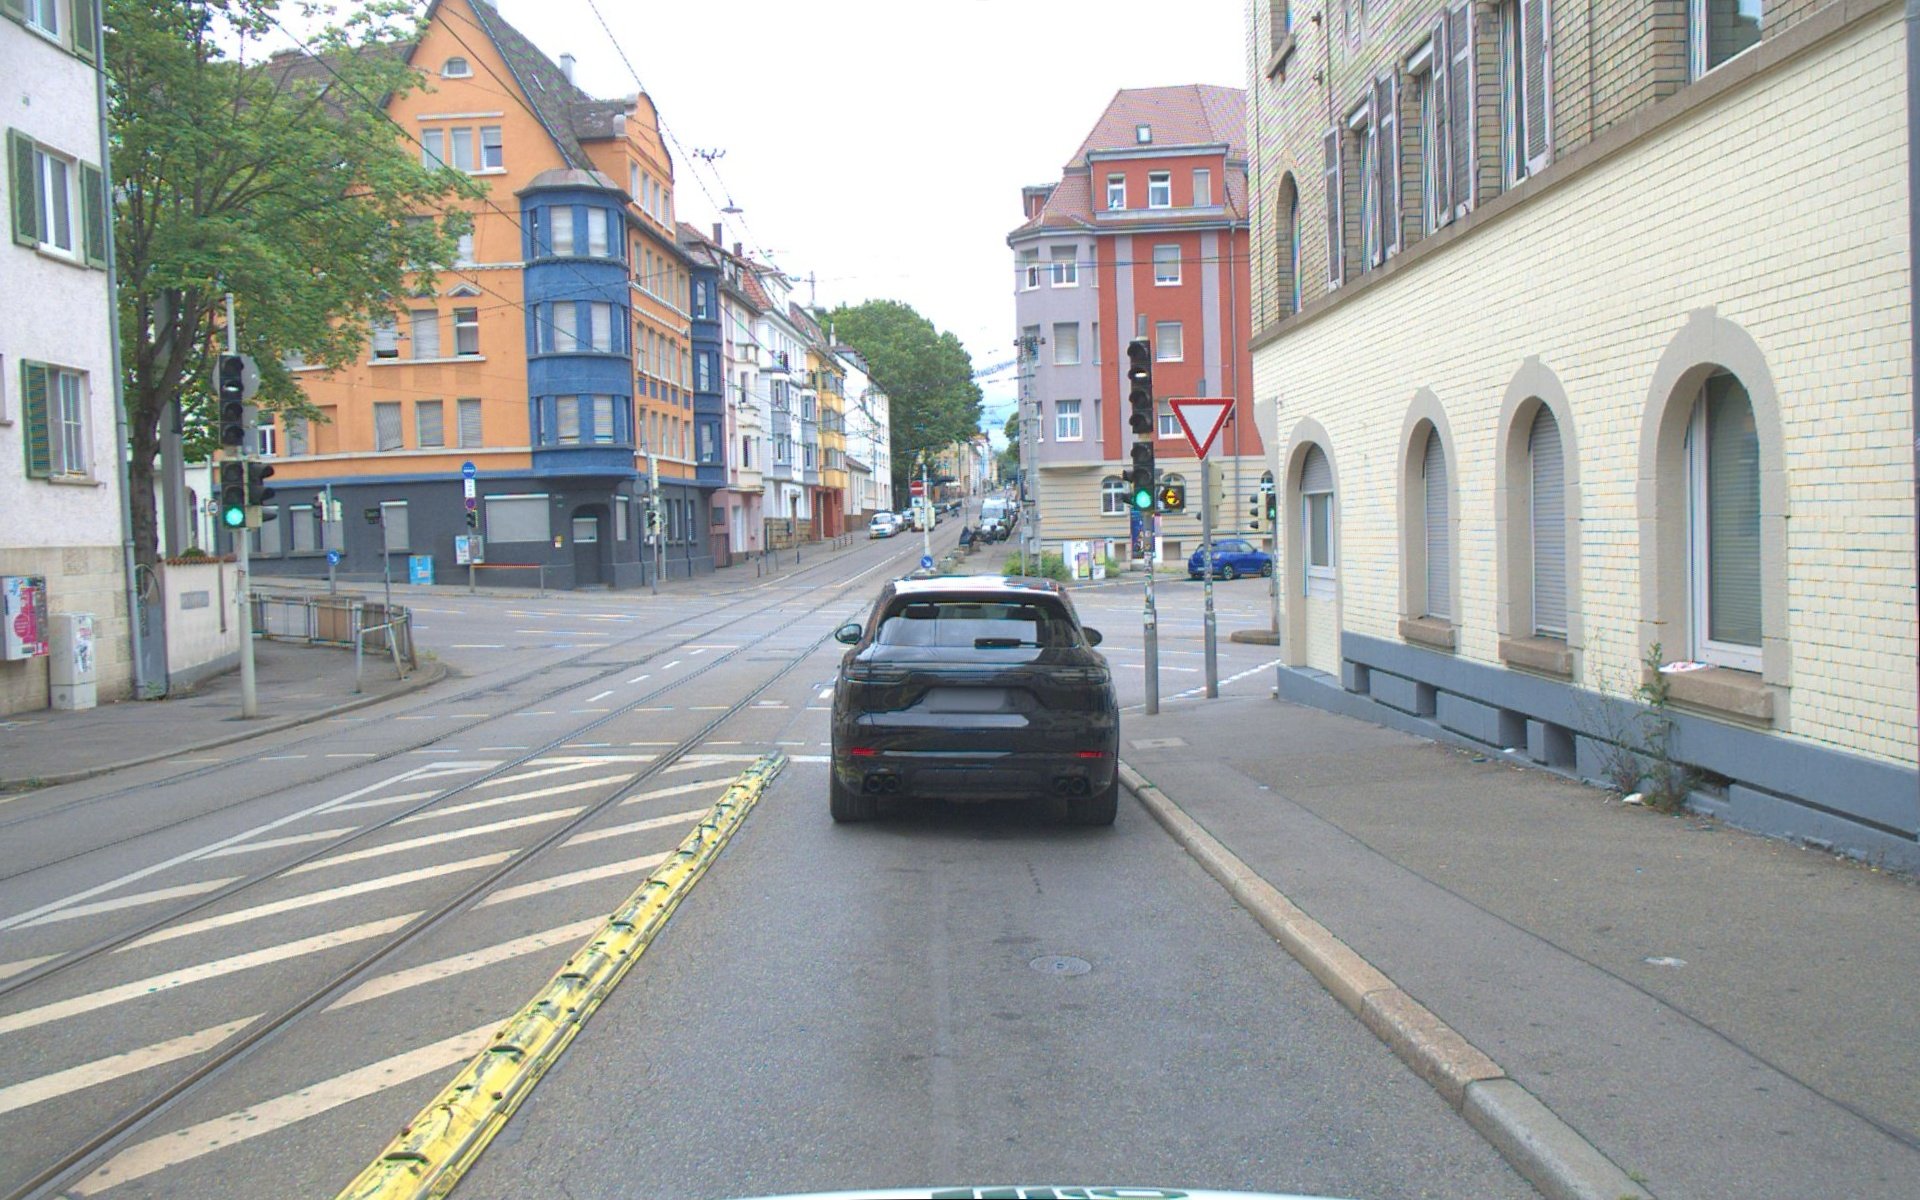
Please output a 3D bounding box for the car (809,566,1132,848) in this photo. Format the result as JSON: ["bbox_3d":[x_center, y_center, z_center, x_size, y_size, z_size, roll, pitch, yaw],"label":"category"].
[{"bbox_3d":[0.213,0.617,12.461,1.981,1.670,4.359,1,2,4],"label":"car"}]

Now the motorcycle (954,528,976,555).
[{"bbox_3d":[0.277,-3.207,90.721,0.843,1.348,2.182,-7,4,-5],"label":"motorcycle"}]

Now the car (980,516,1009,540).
[{"bbox_3d":[2.383,-5.016,114.497,1.801,1.595,3.822,1,3,4],"label":"car"}]

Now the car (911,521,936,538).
[{"bbox_3d":[-2.981,-5.777,135.710,1.650,1.349,3.665,1,3,4],"label":"car"}]

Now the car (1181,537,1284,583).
[{"bbox_3d":[10.725,-1.595,64.898,4.108,1.561,1.889,-5,6,-42],"label":"car"}]

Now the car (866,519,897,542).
[{"bbox_3d":[-5.960,-5.297,126.295,1.952,1.721,4.003,1,3,4],"label":"car"}]

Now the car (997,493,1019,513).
[{"bbox_3d":[5.258,-10.587,180.845,2.220,2.221,4.773,1,3,4],"label":"car"}]

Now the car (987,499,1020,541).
[{"bbox_3d":[3.191,-5.834,120.553,2.220,2.940,4.773,1,3,4],"label":"car"}]

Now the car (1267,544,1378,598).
[{"bbox_3d":[12.583,-1.036,57.261,1.887,1.561,4.113,4,6,44],"label":"car"}]

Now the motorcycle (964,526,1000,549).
[{"bbox_3d":[1.323,-3.836,101.264,2.135,1.349,0.699,0,3,-7],"label":"motorcycle"}]
